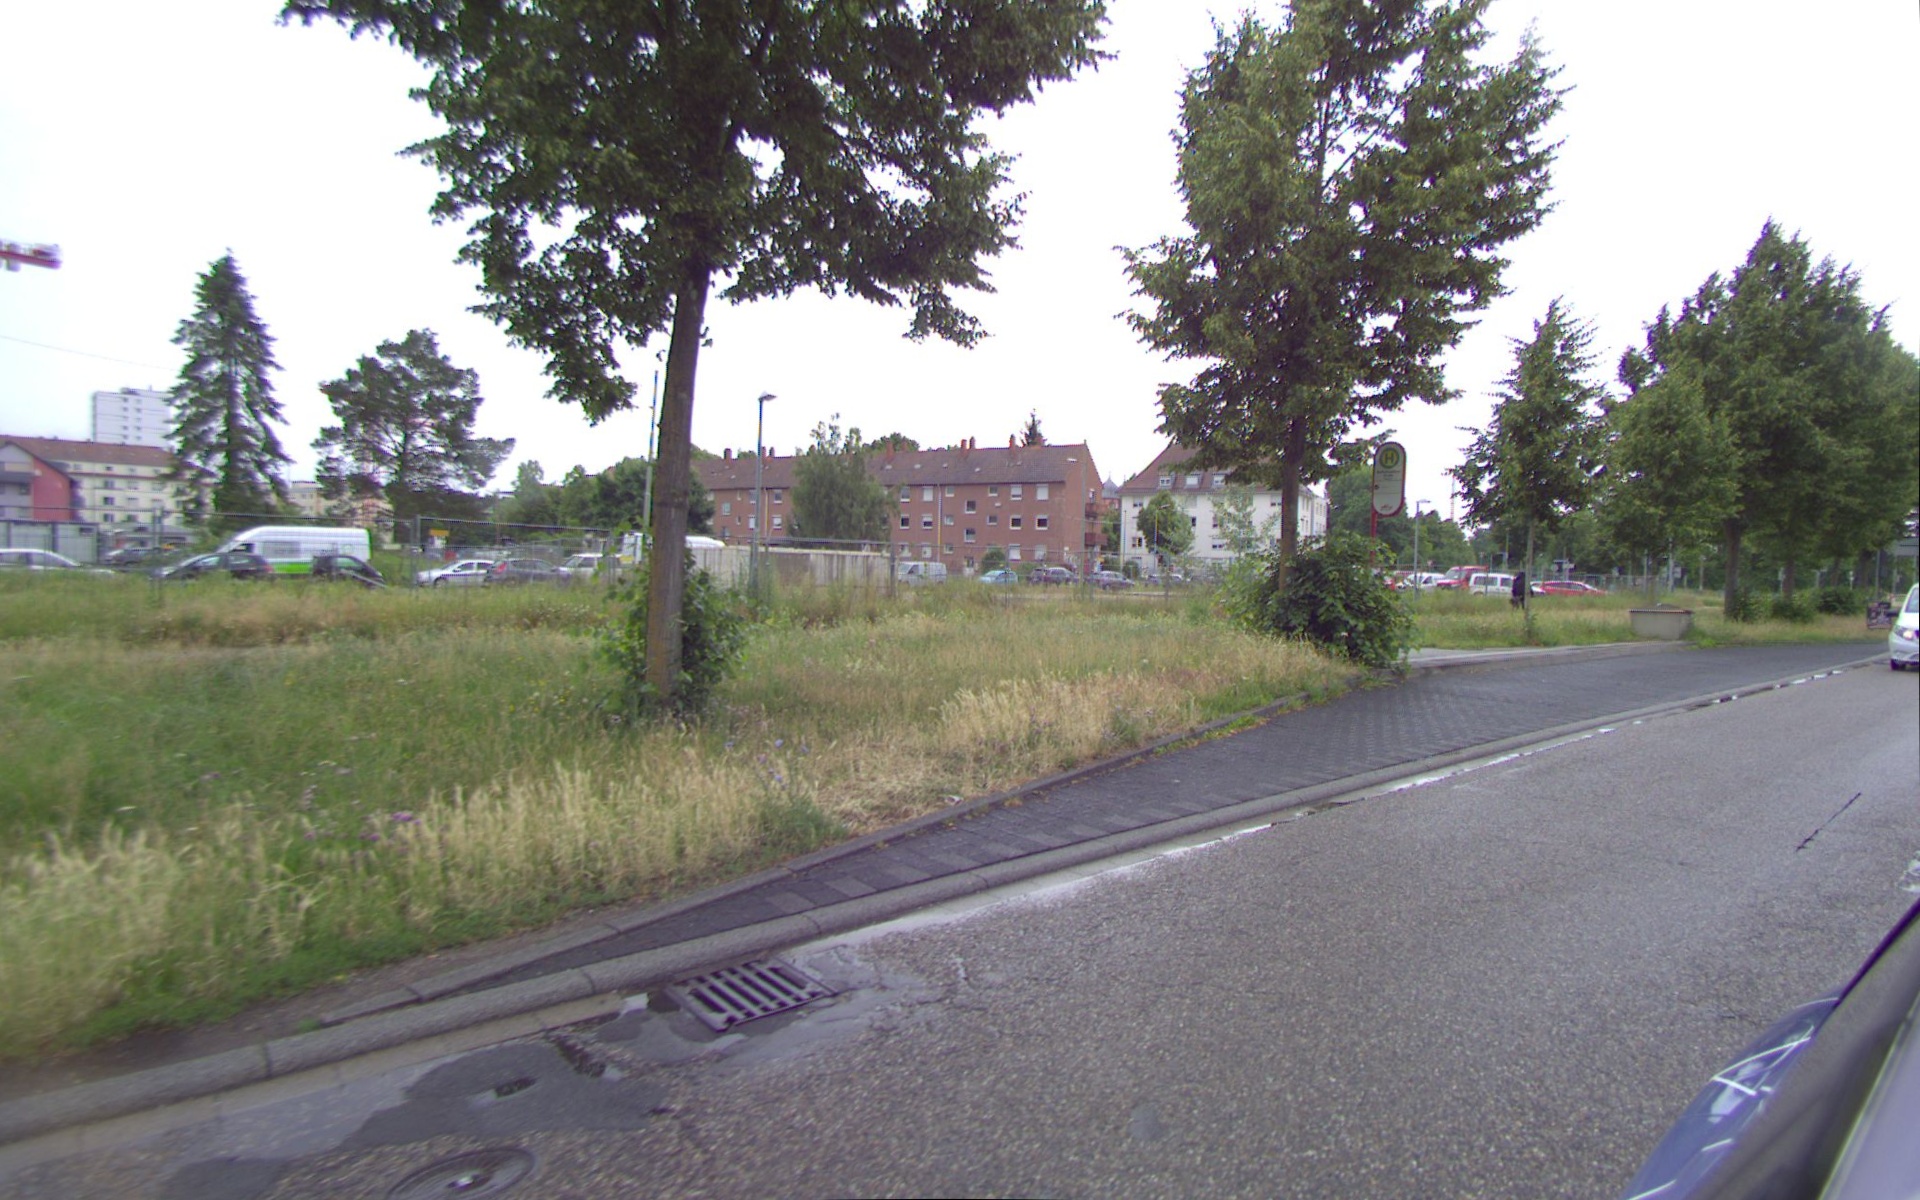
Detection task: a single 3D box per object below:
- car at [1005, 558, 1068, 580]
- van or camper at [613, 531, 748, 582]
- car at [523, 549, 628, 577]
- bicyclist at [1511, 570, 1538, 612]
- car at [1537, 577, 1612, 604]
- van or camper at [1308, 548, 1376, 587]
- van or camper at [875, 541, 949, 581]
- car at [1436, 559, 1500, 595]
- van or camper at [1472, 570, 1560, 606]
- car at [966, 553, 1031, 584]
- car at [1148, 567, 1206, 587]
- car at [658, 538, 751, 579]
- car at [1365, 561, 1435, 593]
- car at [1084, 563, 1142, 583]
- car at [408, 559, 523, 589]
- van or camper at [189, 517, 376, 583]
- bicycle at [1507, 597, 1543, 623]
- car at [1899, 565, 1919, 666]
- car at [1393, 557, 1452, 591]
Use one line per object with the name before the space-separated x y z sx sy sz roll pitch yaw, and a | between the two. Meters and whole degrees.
car | 5.196 -2.043 68.239 1.992 1.404 4.500 0 1 41
van or camper | -13.597 -2.070 49.585 6.046 2.336 2.205 0 1 -44
car | -19.969 -1.910 52.678 4.682 1.369 2.092 0 2 -45
bicyclist | 20.791 -0.339 37.266 0.825 1.524 0.537 0 2 -38
car | 39.367 -0.608 64.881 1.647 1.727 3.807 0 1 -35
van or camper | 31.517 -2.630 83.495 5.400 3.073 2.349 0 0 -30
van or camper | -3.222 -2.596 69.003 1.912 2.567 5.181 2 1 42
car | 35.052 -1.580 69.811 3.919 2.339 2.003 0 1 -28
van or camper | 33.566 -0.741 61.195 4.322 2.039 1.832 2 1 44
car | 2.905 -2.347 75.874 4.682 2.247 2.273 0 2 -45
car | 16.693 -1.760 77.928 3.916 1.471 2.004 0 0 -14
car | -14.591 -2.337 57.967 4.682 2.247 2.273 0 2 -45
car | 33.016 -1.713 75.878 5.339 2.339 2.200 0 1 -32
car | 11.322 -1.973 74.795 3.921 1.390 2.002 0 1 -31
car | -23.794 -1.252 48.792 4.682 1.369 1.843 0 2 -45
van or camper | -28.996 -2.058 43.464 6.312 2.567 2.779 0 1 -43
bicycle | 20.851 0.364 37.337 1.713 0.889 0.548 0 2 -38
car | 21.451 0.308 21.289 5.004 2.004 1.971 -1 2 -42
car | 33.308 -1.842 72.894 3.922 2.339 2.001 0 1 -32
